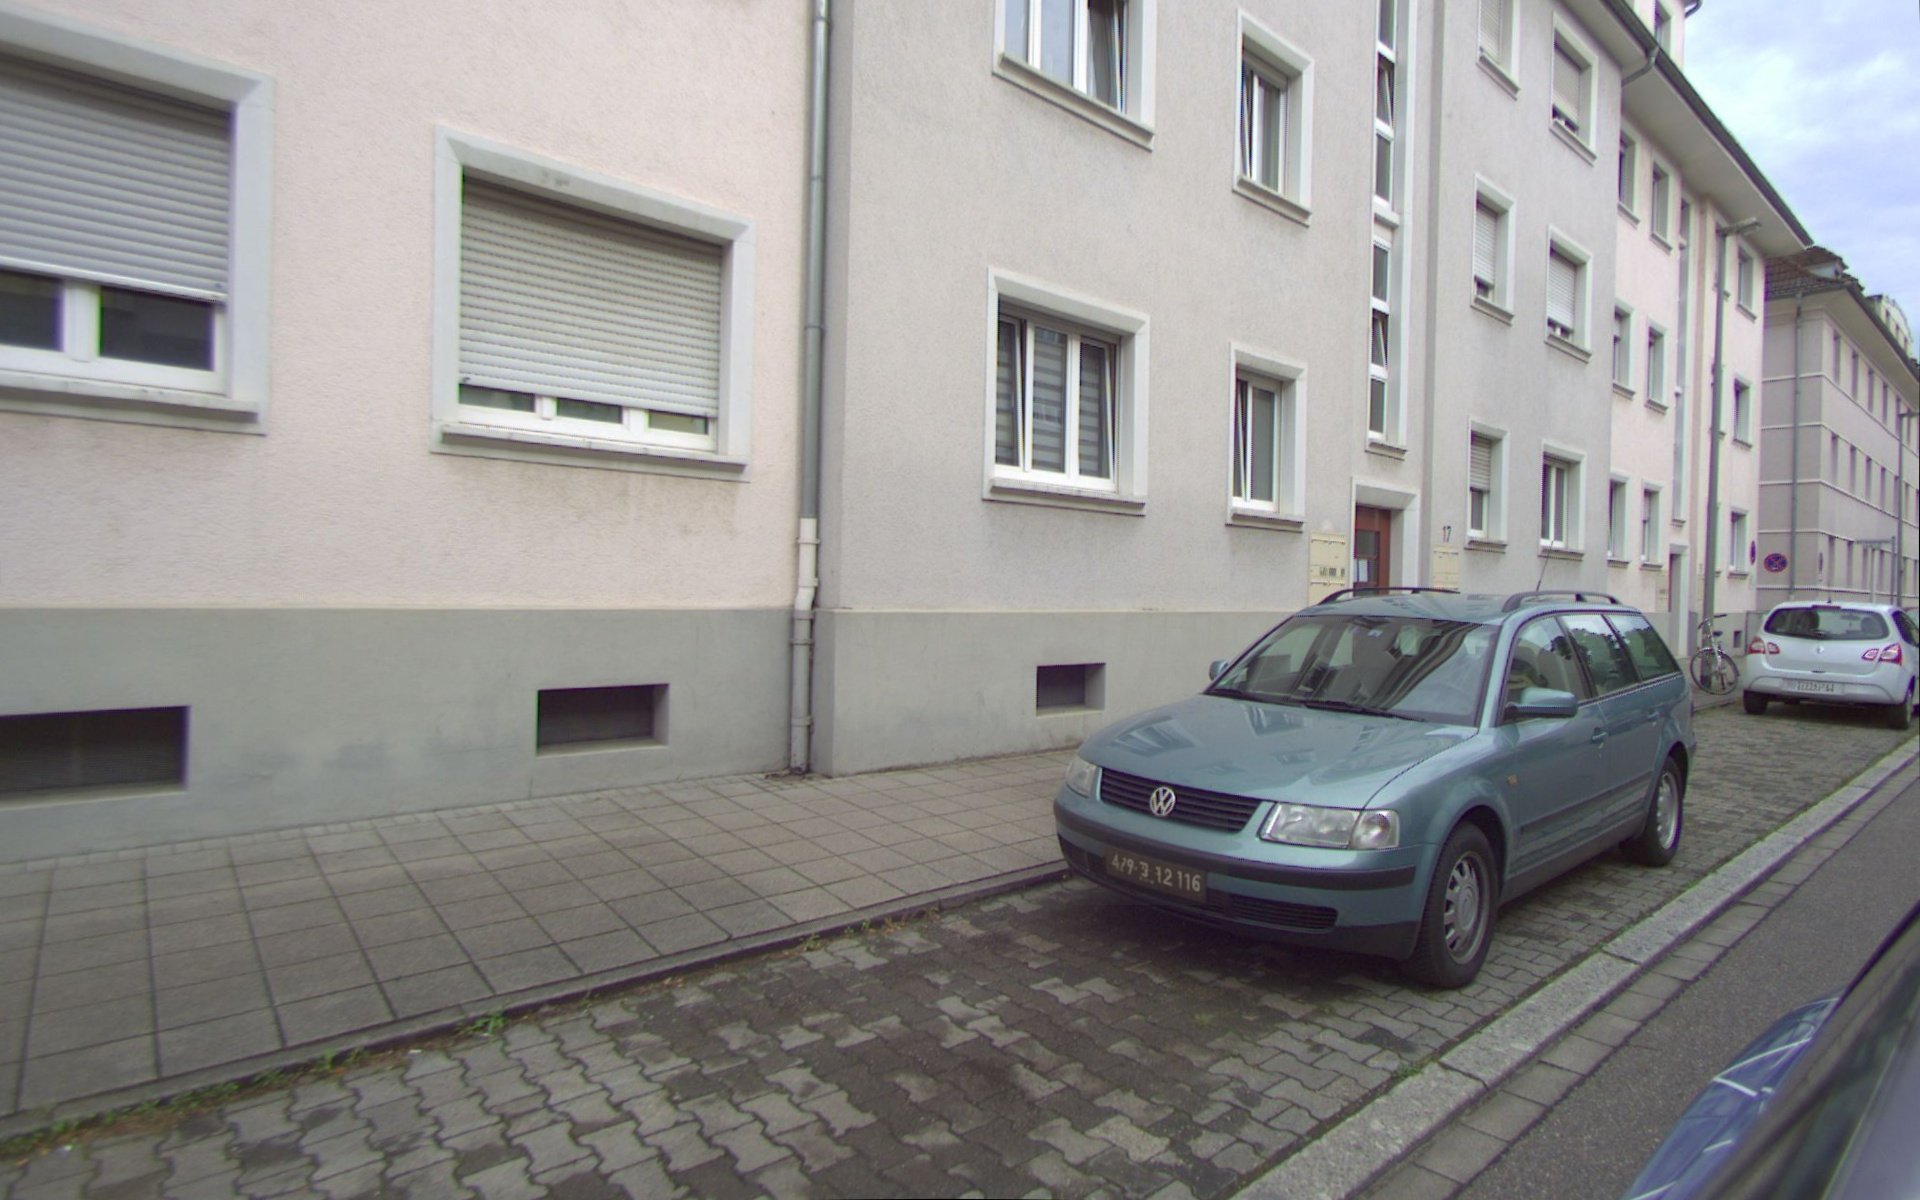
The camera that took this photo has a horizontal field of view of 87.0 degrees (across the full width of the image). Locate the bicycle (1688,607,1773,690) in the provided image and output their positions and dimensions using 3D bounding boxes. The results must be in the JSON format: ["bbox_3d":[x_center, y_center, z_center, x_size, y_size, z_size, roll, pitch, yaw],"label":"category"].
[{"bbox_3d":[11.778,0.704,15.445,2.088,1.154,0.606,1,1,-41],"label":"bicycle"}]

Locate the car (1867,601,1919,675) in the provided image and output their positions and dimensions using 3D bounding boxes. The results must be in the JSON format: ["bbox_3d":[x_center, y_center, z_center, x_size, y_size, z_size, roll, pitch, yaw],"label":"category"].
[{"bbox_3d":[20.305,0.774,20.976,3.867,1.427,1.757,1,1,-41],"label":"car"}]

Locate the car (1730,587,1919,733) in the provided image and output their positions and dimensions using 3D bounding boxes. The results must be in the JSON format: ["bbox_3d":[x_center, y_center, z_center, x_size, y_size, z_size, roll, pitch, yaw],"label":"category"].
[{"bbox_3d":[11.842,0.688,13.416,3.737,1.619,1.788,1,1,-40],"label":"car"}]

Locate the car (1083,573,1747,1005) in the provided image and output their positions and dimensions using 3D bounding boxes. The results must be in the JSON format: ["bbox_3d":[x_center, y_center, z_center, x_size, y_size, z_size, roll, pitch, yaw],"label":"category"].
[{"bbox_3d":[2.739,0.649,5.565,4.190,1.487,1.728,0,1,-41],"label":"car"}]
